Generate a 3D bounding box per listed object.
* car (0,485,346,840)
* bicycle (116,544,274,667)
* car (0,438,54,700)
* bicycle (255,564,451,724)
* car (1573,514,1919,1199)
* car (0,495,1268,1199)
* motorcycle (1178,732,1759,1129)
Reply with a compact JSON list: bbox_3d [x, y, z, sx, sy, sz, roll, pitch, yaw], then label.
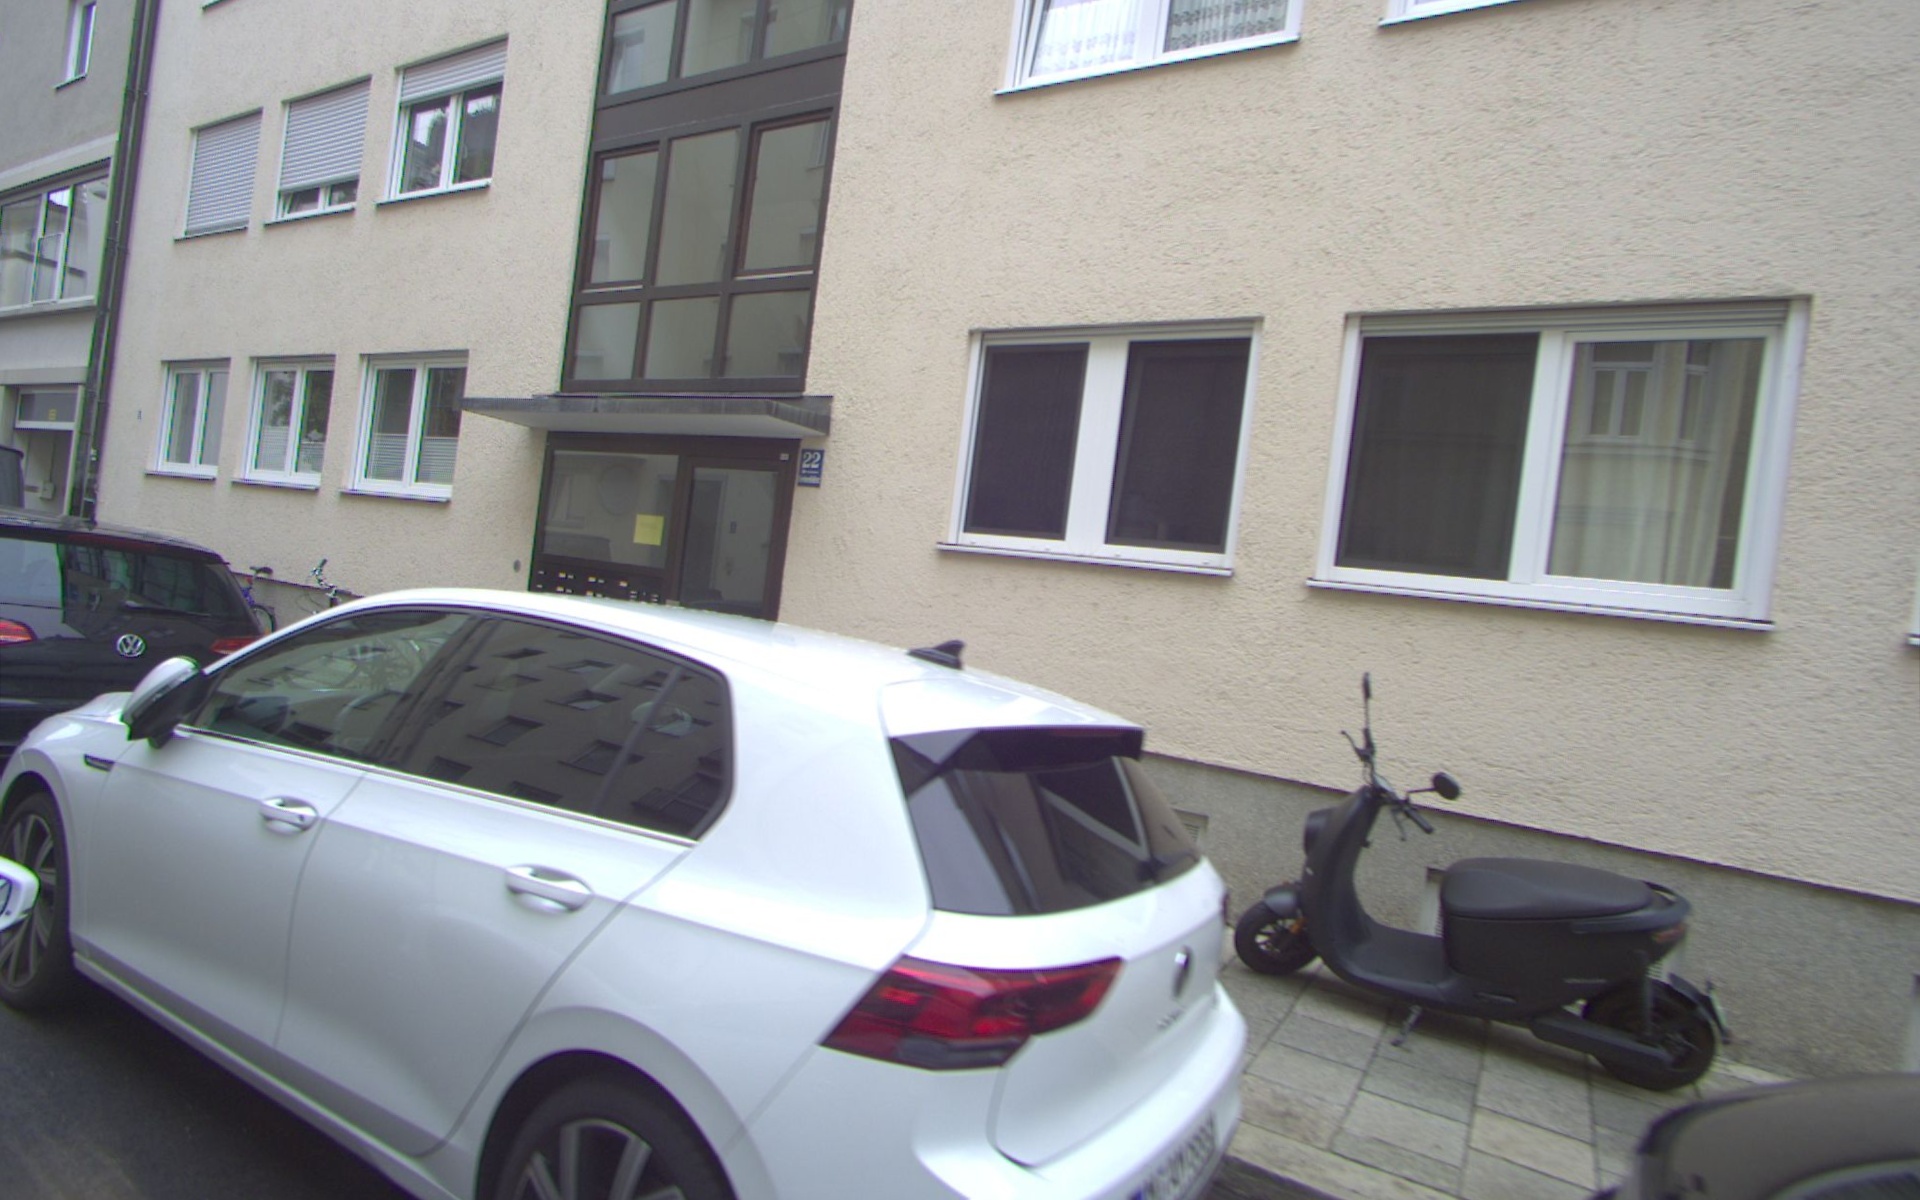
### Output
[{"bbox_3d":[-5.628,0.119,5.708,4.171,1.503,1.716,7,-2,29],"label":"car"},{"bbox_3d":[-7.803,0.033,10.236,1.767,1.043,0.644,7,3,31],"label":"bicycle"},{"bbox_3d":[-9.529,-0.557,8.162,4.268,1.997,1.756,8,-2,29],"label":"car"},{"bbox_3d":[-5.187,0.335,8.567,1.731,1.121,0.654,7,3,31],"label":"bicycle"},{"bbox_3d":[2.825,1.016,0.528,4.174,1.626,1.715,6,-2,32],"label":"car"},{"bbox_3d":[-1.423,0.649,3.141,4.171,1.503,1.716,7,-2,29],"label":"car"},{"bbox_3d":[1.903,1.193,4.028,1.879,0.981,0.481,7,4,31],"label":"motorcycle"}]
